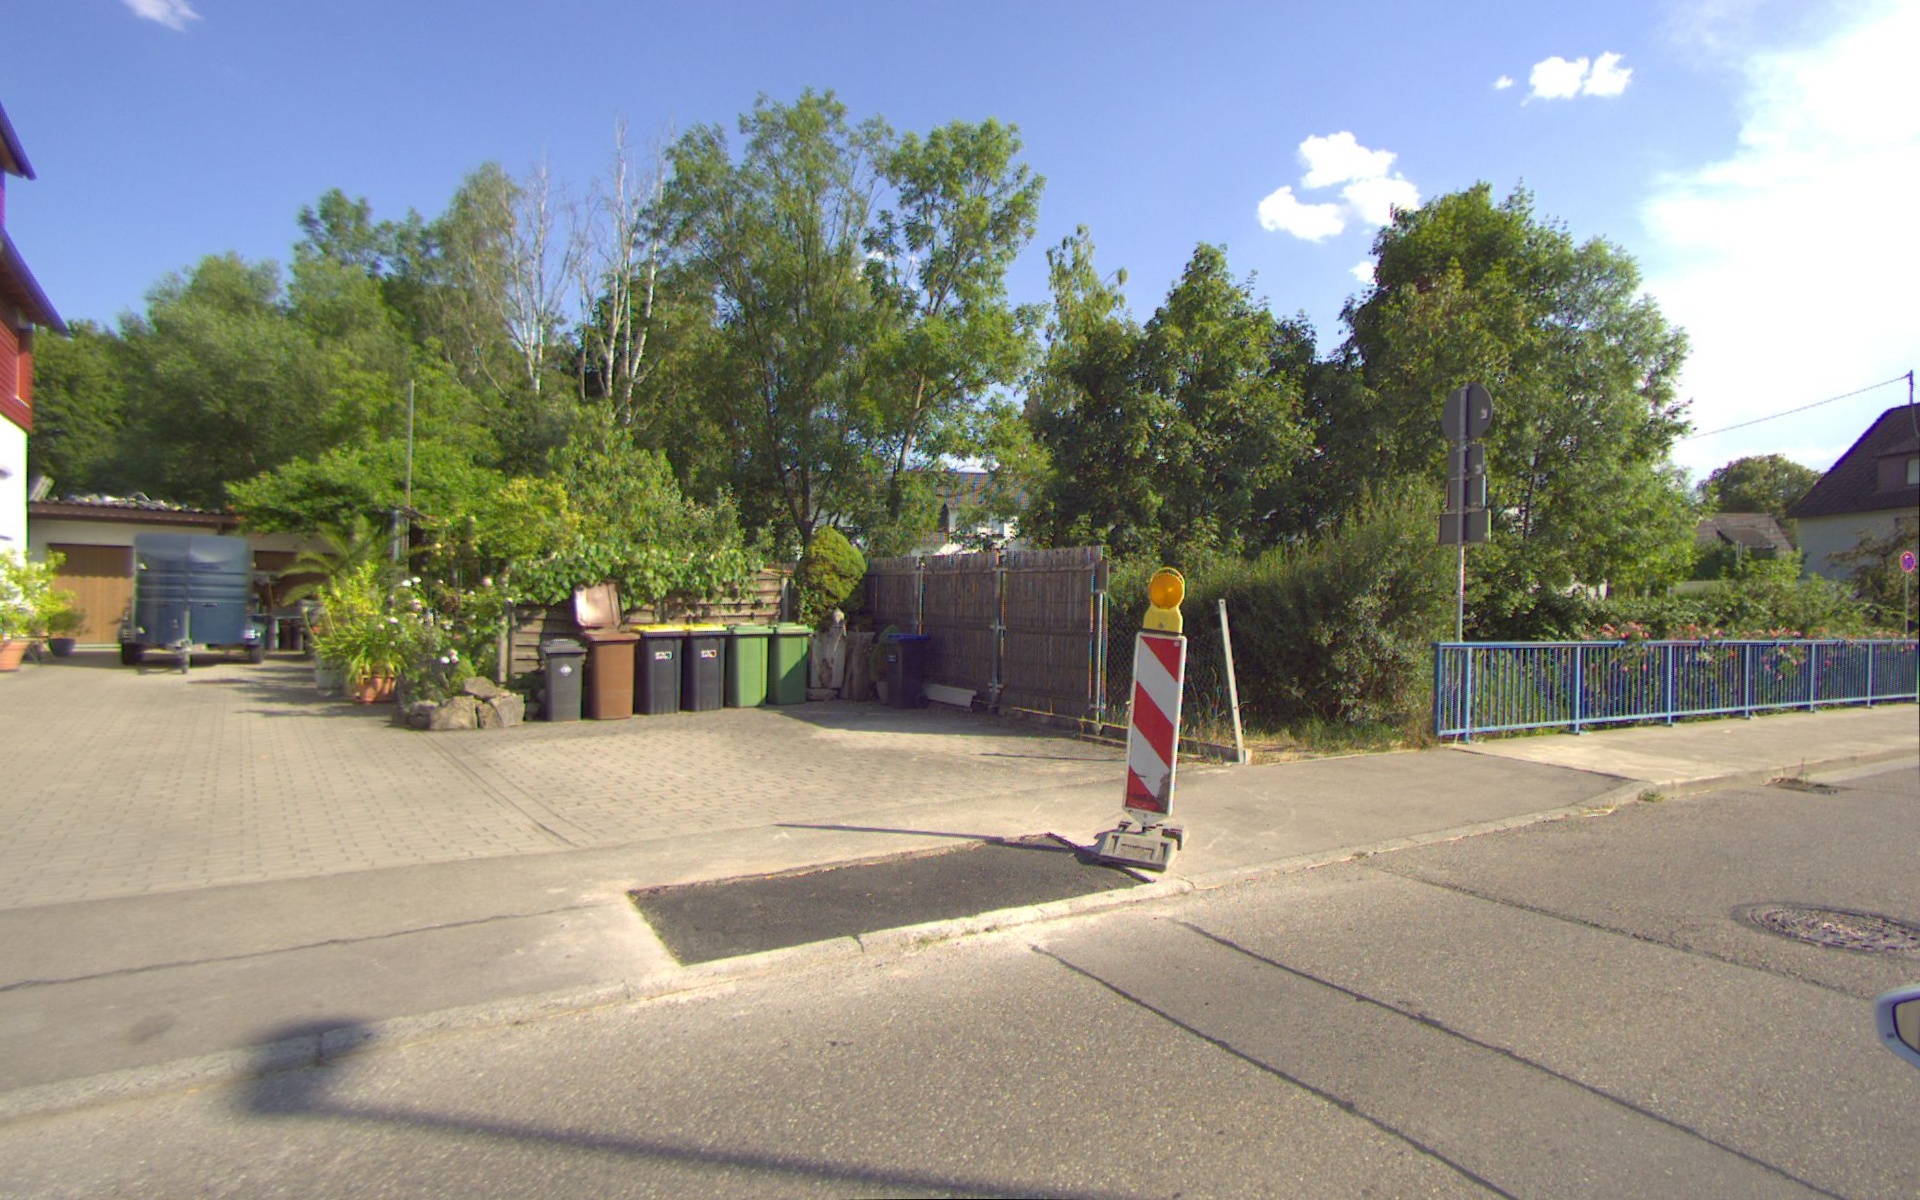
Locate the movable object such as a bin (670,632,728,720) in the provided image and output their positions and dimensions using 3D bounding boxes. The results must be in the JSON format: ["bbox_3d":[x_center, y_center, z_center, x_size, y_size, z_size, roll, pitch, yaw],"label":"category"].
[{"bbox_3d":[-3.348,0.959,12.871,0.544,1.064,0.543,-1,1,-36],"label":"movable object such as a bin"}]

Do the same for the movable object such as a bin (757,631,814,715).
[{"bbox_3d":[-2.359,0.966,13.570,0.587,1.064,0.543,-1,1,-36],"label":"movable object such as a bin"}]

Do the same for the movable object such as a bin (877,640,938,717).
[{"bbox_3d":[-0.691,1.012,13.121,0.585,0.930,0.589,-1,1,-29],"label":"movable object such as a bin"}]

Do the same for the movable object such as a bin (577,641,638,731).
[{"bbox_3d":[-4.223,1.008,12.028,0.544,1.003,0.543,-1,1,-36],"label":"movable object such as a bin"}]

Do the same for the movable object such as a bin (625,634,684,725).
[{"bbox_3d":[-3.808,0.971,12.523,0.544,1.064,0.543,-1,1,-36],"label":"movable object such as a bin"}]

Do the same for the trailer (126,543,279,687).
[{"bbox_3d":[-13.224,0.225,17.532,1.914,2.195,3.955,1,0,-38],"label":"trailer"}]

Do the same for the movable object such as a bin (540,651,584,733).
[{"bbox_3d":[-4.651,1.066,11.745,0.367,0.894,0.460,-1,1,-35],"label":"movable object such as a bin"}]

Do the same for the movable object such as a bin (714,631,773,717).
[{"bbox_3d":[-2.848,0.955,13.201,0.587,1.064,0.543,-1,1,-36],"label":"movable object such as a bin"}]
